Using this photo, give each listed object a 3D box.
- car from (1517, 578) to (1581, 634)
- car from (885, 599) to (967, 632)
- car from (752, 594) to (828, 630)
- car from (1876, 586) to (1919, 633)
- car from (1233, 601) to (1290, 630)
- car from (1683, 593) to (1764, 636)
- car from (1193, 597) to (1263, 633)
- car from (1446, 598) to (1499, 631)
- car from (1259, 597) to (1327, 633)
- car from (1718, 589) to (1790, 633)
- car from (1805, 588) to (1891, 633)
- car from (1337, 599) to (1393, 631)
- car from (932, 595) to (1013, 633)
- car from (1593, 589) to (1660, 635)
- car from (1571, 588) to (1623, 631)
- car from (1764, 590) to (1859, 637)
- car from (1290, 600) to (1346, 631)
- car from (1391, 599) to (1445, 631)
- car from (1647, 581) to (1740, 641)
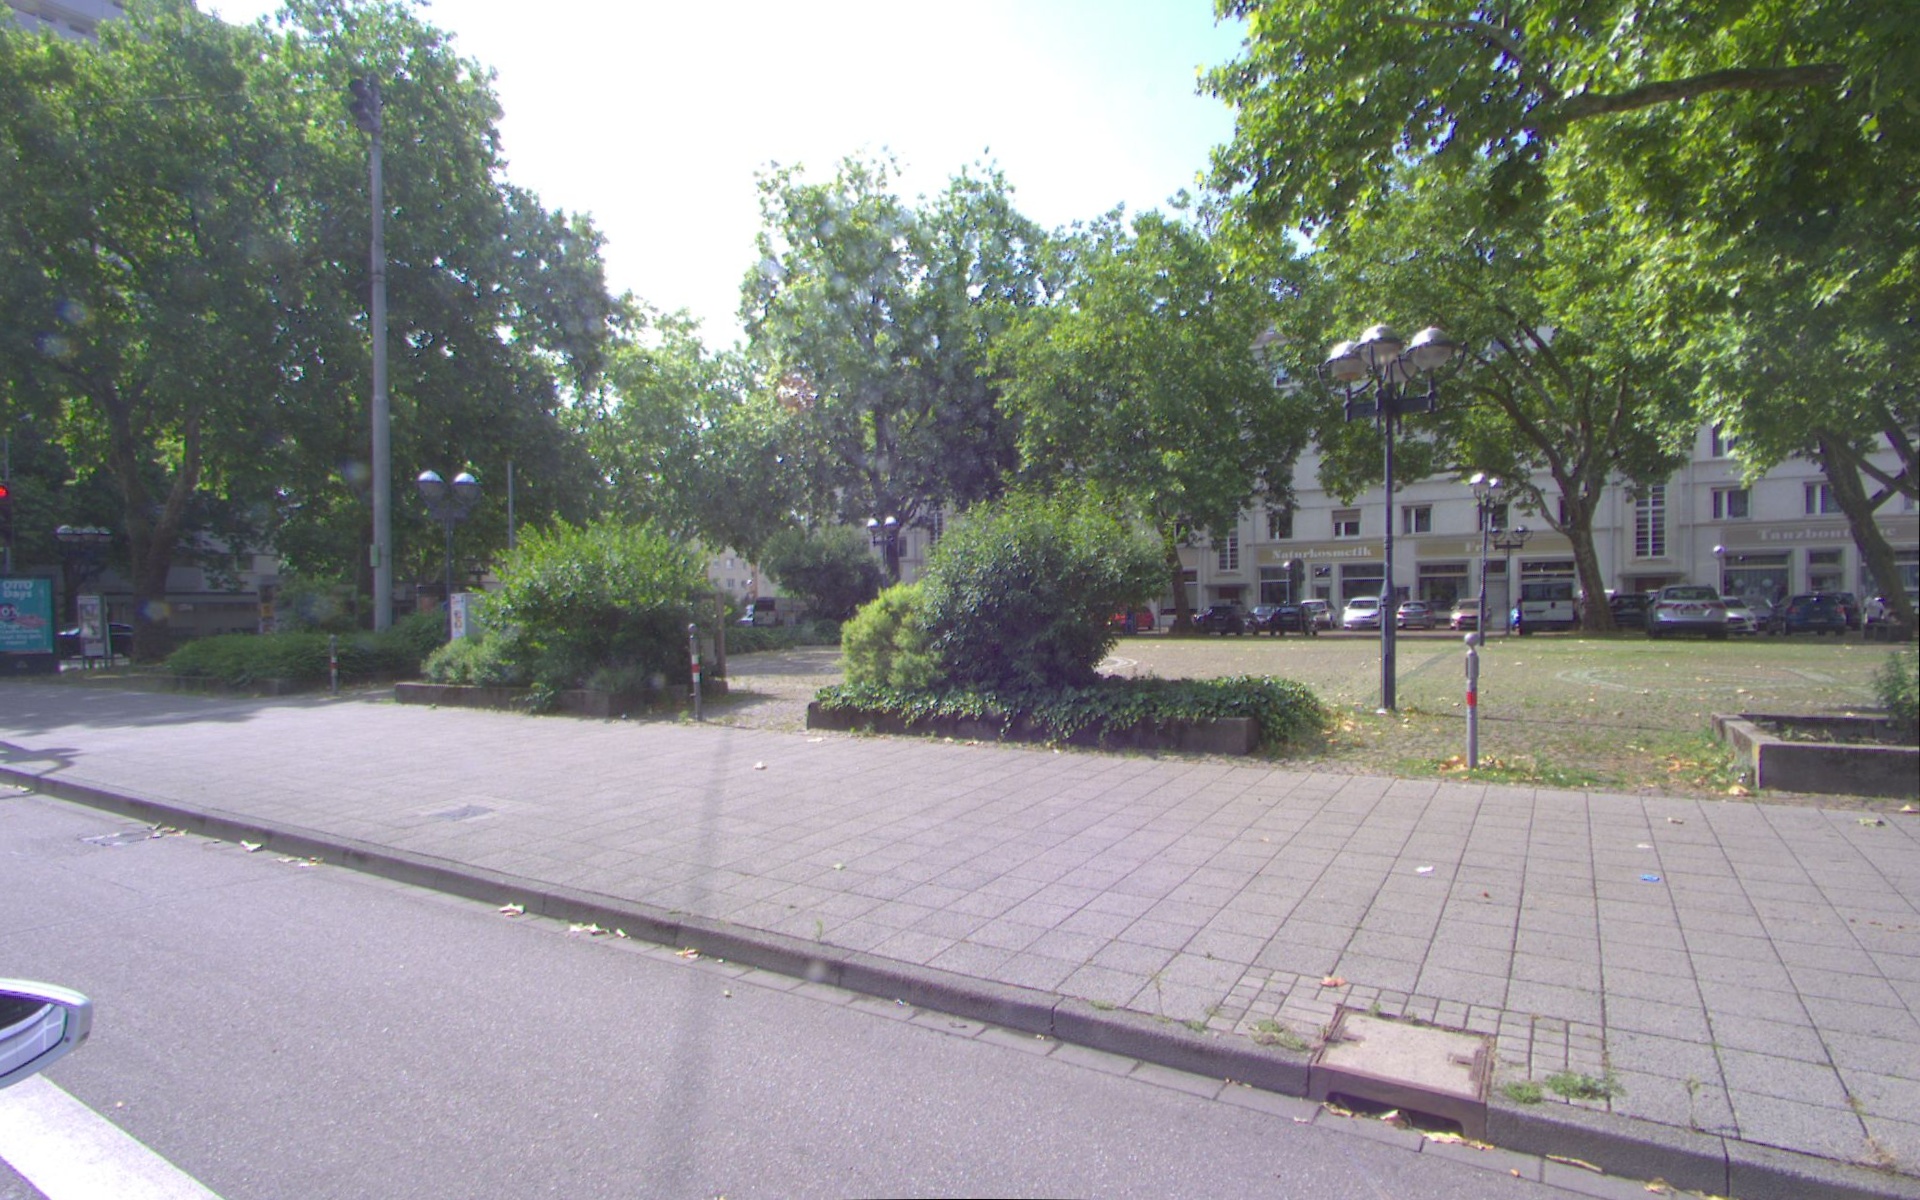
[{"bbox_3d":[23.048,0.213,39.134,2.047,2.040,4.245,0,0,32],"label":"car"},{"bbox_3d":[-1.809,0.831,55.103,2.161,1.729,4.668,-1,0,34],"label":"car"},{"bbox_3d":[-10.152,0.701,60.011,2.048,2.040,4.403,0,0,33],"label":"car"},{"bbox_3d":[39.581,0.358,41.152,2.161,1.828,4.730,0,0,34],"label":"car"},{"bbox_3d":[16.778,0.845,55.622,1.958,1.541,4.245,-1,0,32],"label":"car"},{"bbox_3d":[27.288,0.497,35.908,1.931,1.440,4.156,-1,0,32],"label":"car"},{"bbox_3d":[12.413,0.656,46.150,1.958,1.541,4.245,-1,0,32],"label":"car"},{"bbox_3d":[25.854,0.704,50.441,2.009,1.570,4.671,-1,0,32],"label":"car"},{"bbox_3d":[14.895,0.637,44.645,1.958,1.541,4.245,-1,0,32],"label":"car"},{"bbox_3d":[35.272,0.460,44.621,2.161,1.828,4.730,0,0,34],"label":"car"},{"bbox_3d":[37.624,0.417,42.551,2.161,1.828,4.668,0,0,34],"label":"car"},{"bbox_3d":[21.377,0.749,52.715,1.958,1.570,4.671,-1,0,32],"label":"car"},{"bbox_3d":[0.739,0.723,54.035,2.161,1.955,4.668,0,0,34],"label":"car"},{"bbox_3d":[25.070,0.424,37.784,1.971,1.615,4.245,-1,0,32],"label":"car"},{"bbox_3d":[30.345,0.413,47.748,2.009,1.955,4.671,0,0,32],"label":"car"},{"bbox_3d":[30.103,0.447,35.531,1.971,1.544,4.143,-1,0,32],"label":"car"},{"bbox_3d":[19.411,0.799,54.145,1.958,1.570,4.415,-1,0,32],"label":"car"},{"bbox_3d":[23.728,0.731,51.754,1.958,1.570,4.671,-1,0,32],"label":"car"},{"bbox_3d":[21.986,0.311,30.164,1.971,1.657,4.143,-1,0,32],"label":"car"}]
